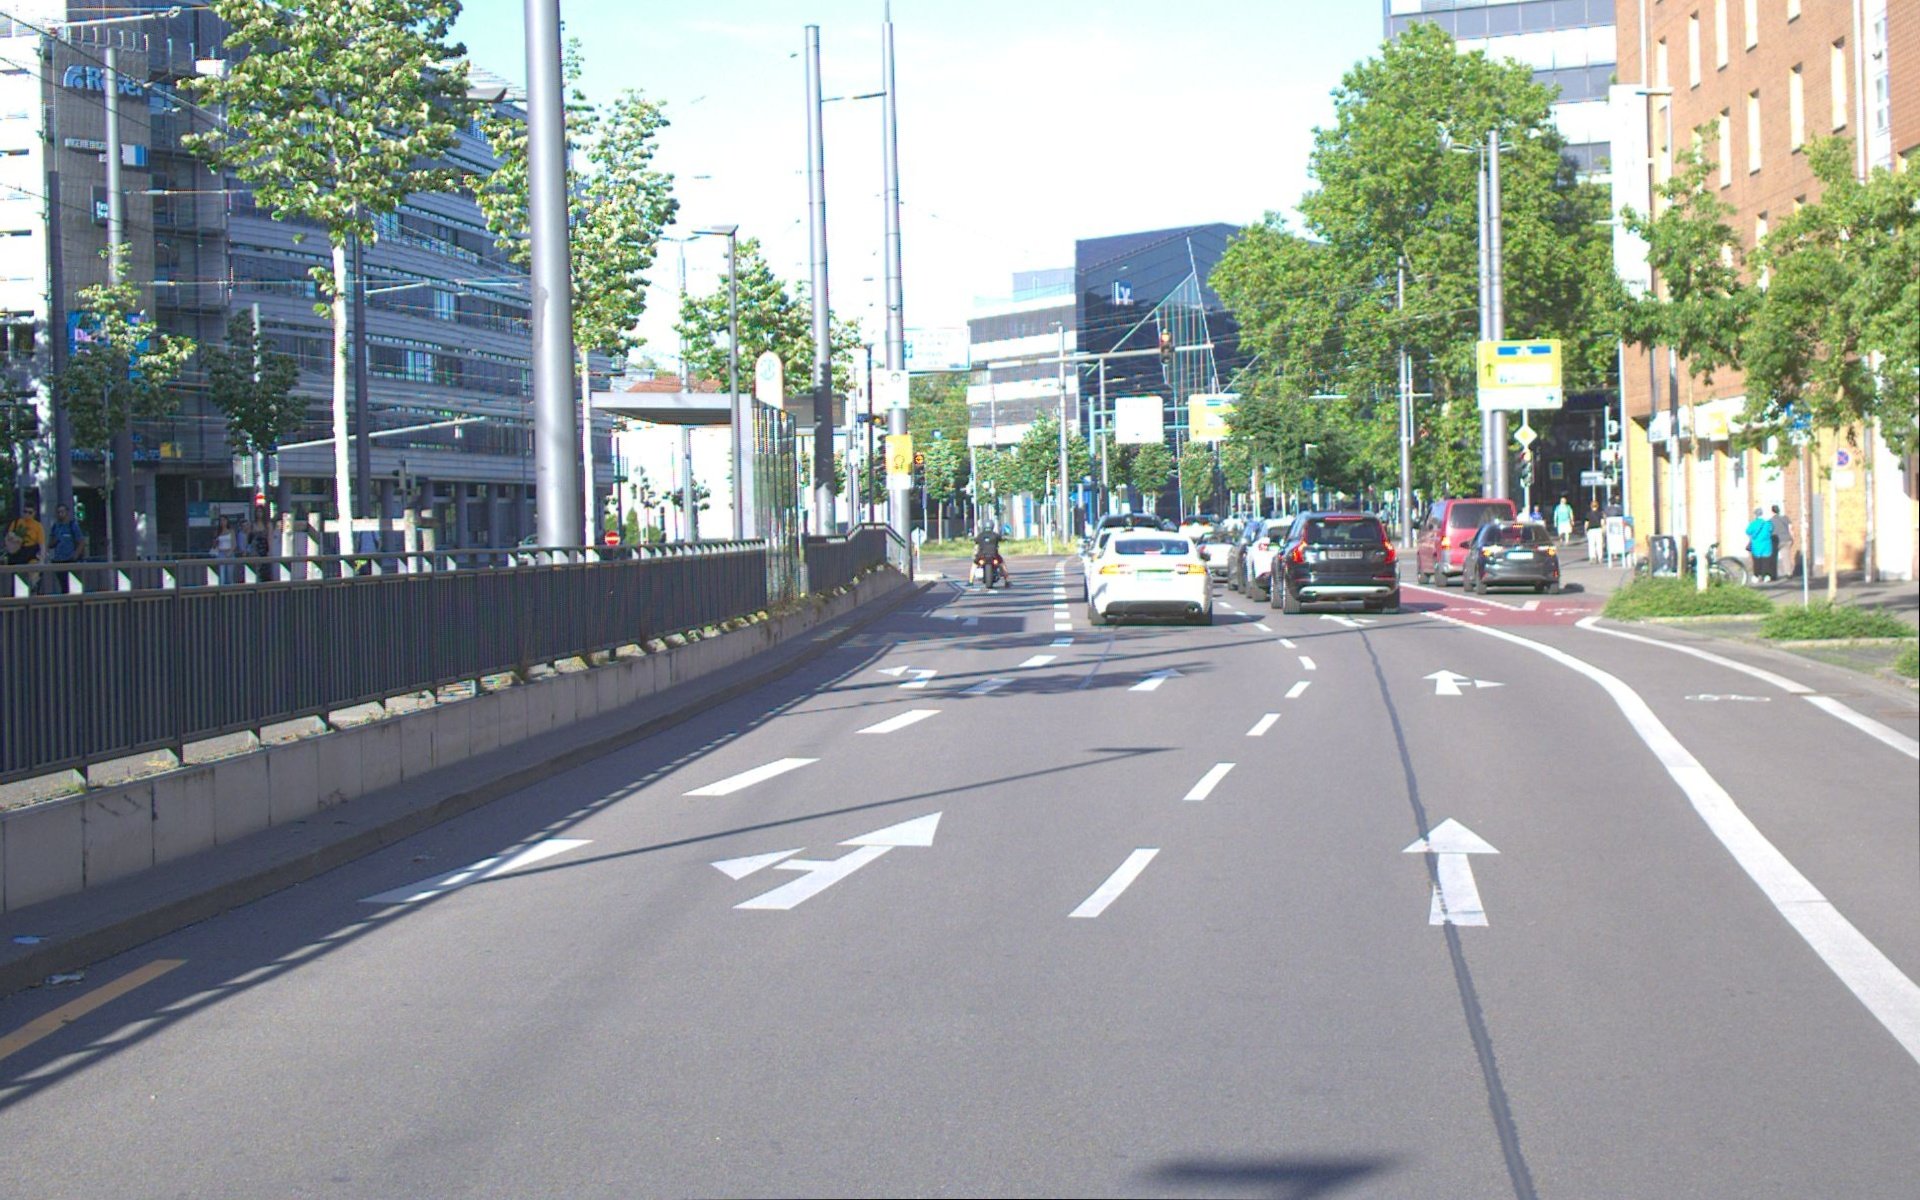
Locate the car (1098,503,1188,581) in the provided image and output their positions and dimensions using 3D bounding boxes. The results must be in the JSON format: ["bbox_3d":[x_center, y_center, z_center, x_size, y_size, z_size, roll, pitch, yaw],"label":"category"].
[{"bbox_3d":[3.602,-1.180,68.337,1.693,1.491,4.409,1,2,2],"label":"car"}]

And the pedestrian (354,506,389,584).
[{"bbox_3d":[-13.627,-1.277,79.651,0.614,1.811,0.897,0,1,2],"label":"pedestrian"}]

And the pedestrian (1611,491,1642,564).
[{"bbox_3d":[16.675,-1.813,85.960,0.606,1.815,0.748,-1,1,1],"label":"pedestrian"}]

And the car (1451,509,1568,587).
[{"bbox_3d":[11.397,-1.114,71.569,1.847,1.555,4.632,1,2,2],"label":"car"}]

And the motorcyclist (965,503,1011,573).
[{"bbox_3d":[0.661,-1.451,79.760,1.019,1.598,1.148,1,1,2],"label":"motorcyclist"}]

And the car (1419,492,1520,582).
[{"bbox_3d":[11.516,-1.446,77.907,1.860,1.954,4.000,-1,2,3],"label":"car"}]

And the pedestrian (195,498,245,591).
[{"bbox_3d":[-12.985,-0.981,60.377,0.640,1.602,0.945,1,1,2],"label":"pedestrian"}]

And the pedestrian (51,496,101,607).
[{"bbox_3d":[-13.881,-0.768,53.982,0.582,1.732,0.616,0,1,2],"label":"pedestrian"}]

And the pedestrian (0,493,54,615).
[{"bbox_3d":[-13.079,-0.650,48.126,0.640,1.690,0.541,1,1,2],"label":"pedestrian"}]

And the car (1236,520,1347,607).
[{"bbox_3d":[6.441,-0.734,67.139,1.851,1.634,4.379,0,1,1],"label":"car"}]

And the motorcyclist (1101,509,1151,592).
[{"bbox_3d":[3.026,-0.908,62.701,0.837,1.470,1.236,-1,2,1],"label":"motorcyclist"}]

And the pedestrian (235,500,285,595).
[{"bbox_3d":[-12.286,-0.927,60.365,0.640,1.637,0.945,1,1,2],"label":"pedestrian"}]

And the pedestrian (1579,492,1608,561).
[{"bbox_3d":[16.754,-1.940,90.868,0.606,1.815,0.748,-1,1,1],"label":"pedestrian"}]

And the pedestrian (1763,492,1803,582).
[{"bbox_3d":[16.891,-1.294,70.575,0.606,1.815,0.748,-1,1,1],"label":"pedestrian"}]

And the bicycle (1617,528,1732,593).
[{"bbox_3d":[12.645,-0.708,60.866,1.946,1.071,0.554,-2,1,13],"label":"bicycle"}]

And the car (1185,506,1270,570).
[{"bbox_3d":[6.541,-1.544,84.276,1.851,1.492,4.379,0,2,2],"label":"car"}]

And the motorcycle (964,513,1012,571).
[{"bbox_3d":[0.665,-1.365,79.722,1.019,1.307,2.914,1,2,2],"label":"motorcycle"}]

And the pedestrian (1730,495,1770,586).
[{"bbox_3d":[16.002,-1.214,69.647,0.606,1.815,0.748,-1,1,1],"label":"pedestrian"}]

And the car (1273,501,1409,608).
[{"bbox_3d":[6.544,-0.826,59.475,1.975,1.753,4.632,1,2,2],"label":"car"}]

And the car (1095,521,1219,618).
[{"bbox_3d":[3.051,-0.515,53.951,1.780,1.409,4.819,1,2,2],"label":"car"}]

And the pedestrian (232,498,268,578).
[{"bbox_3d":[-14.402,-1.260,69.732,0.563,1.603,0.616,0,1,2],"label":"pedestrian"}]

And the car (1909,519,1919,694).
[{"bbox_3d":[9.550,0.080,30.252,1.721,1.631,4.230,-2,1,8],"label":"car"}]
